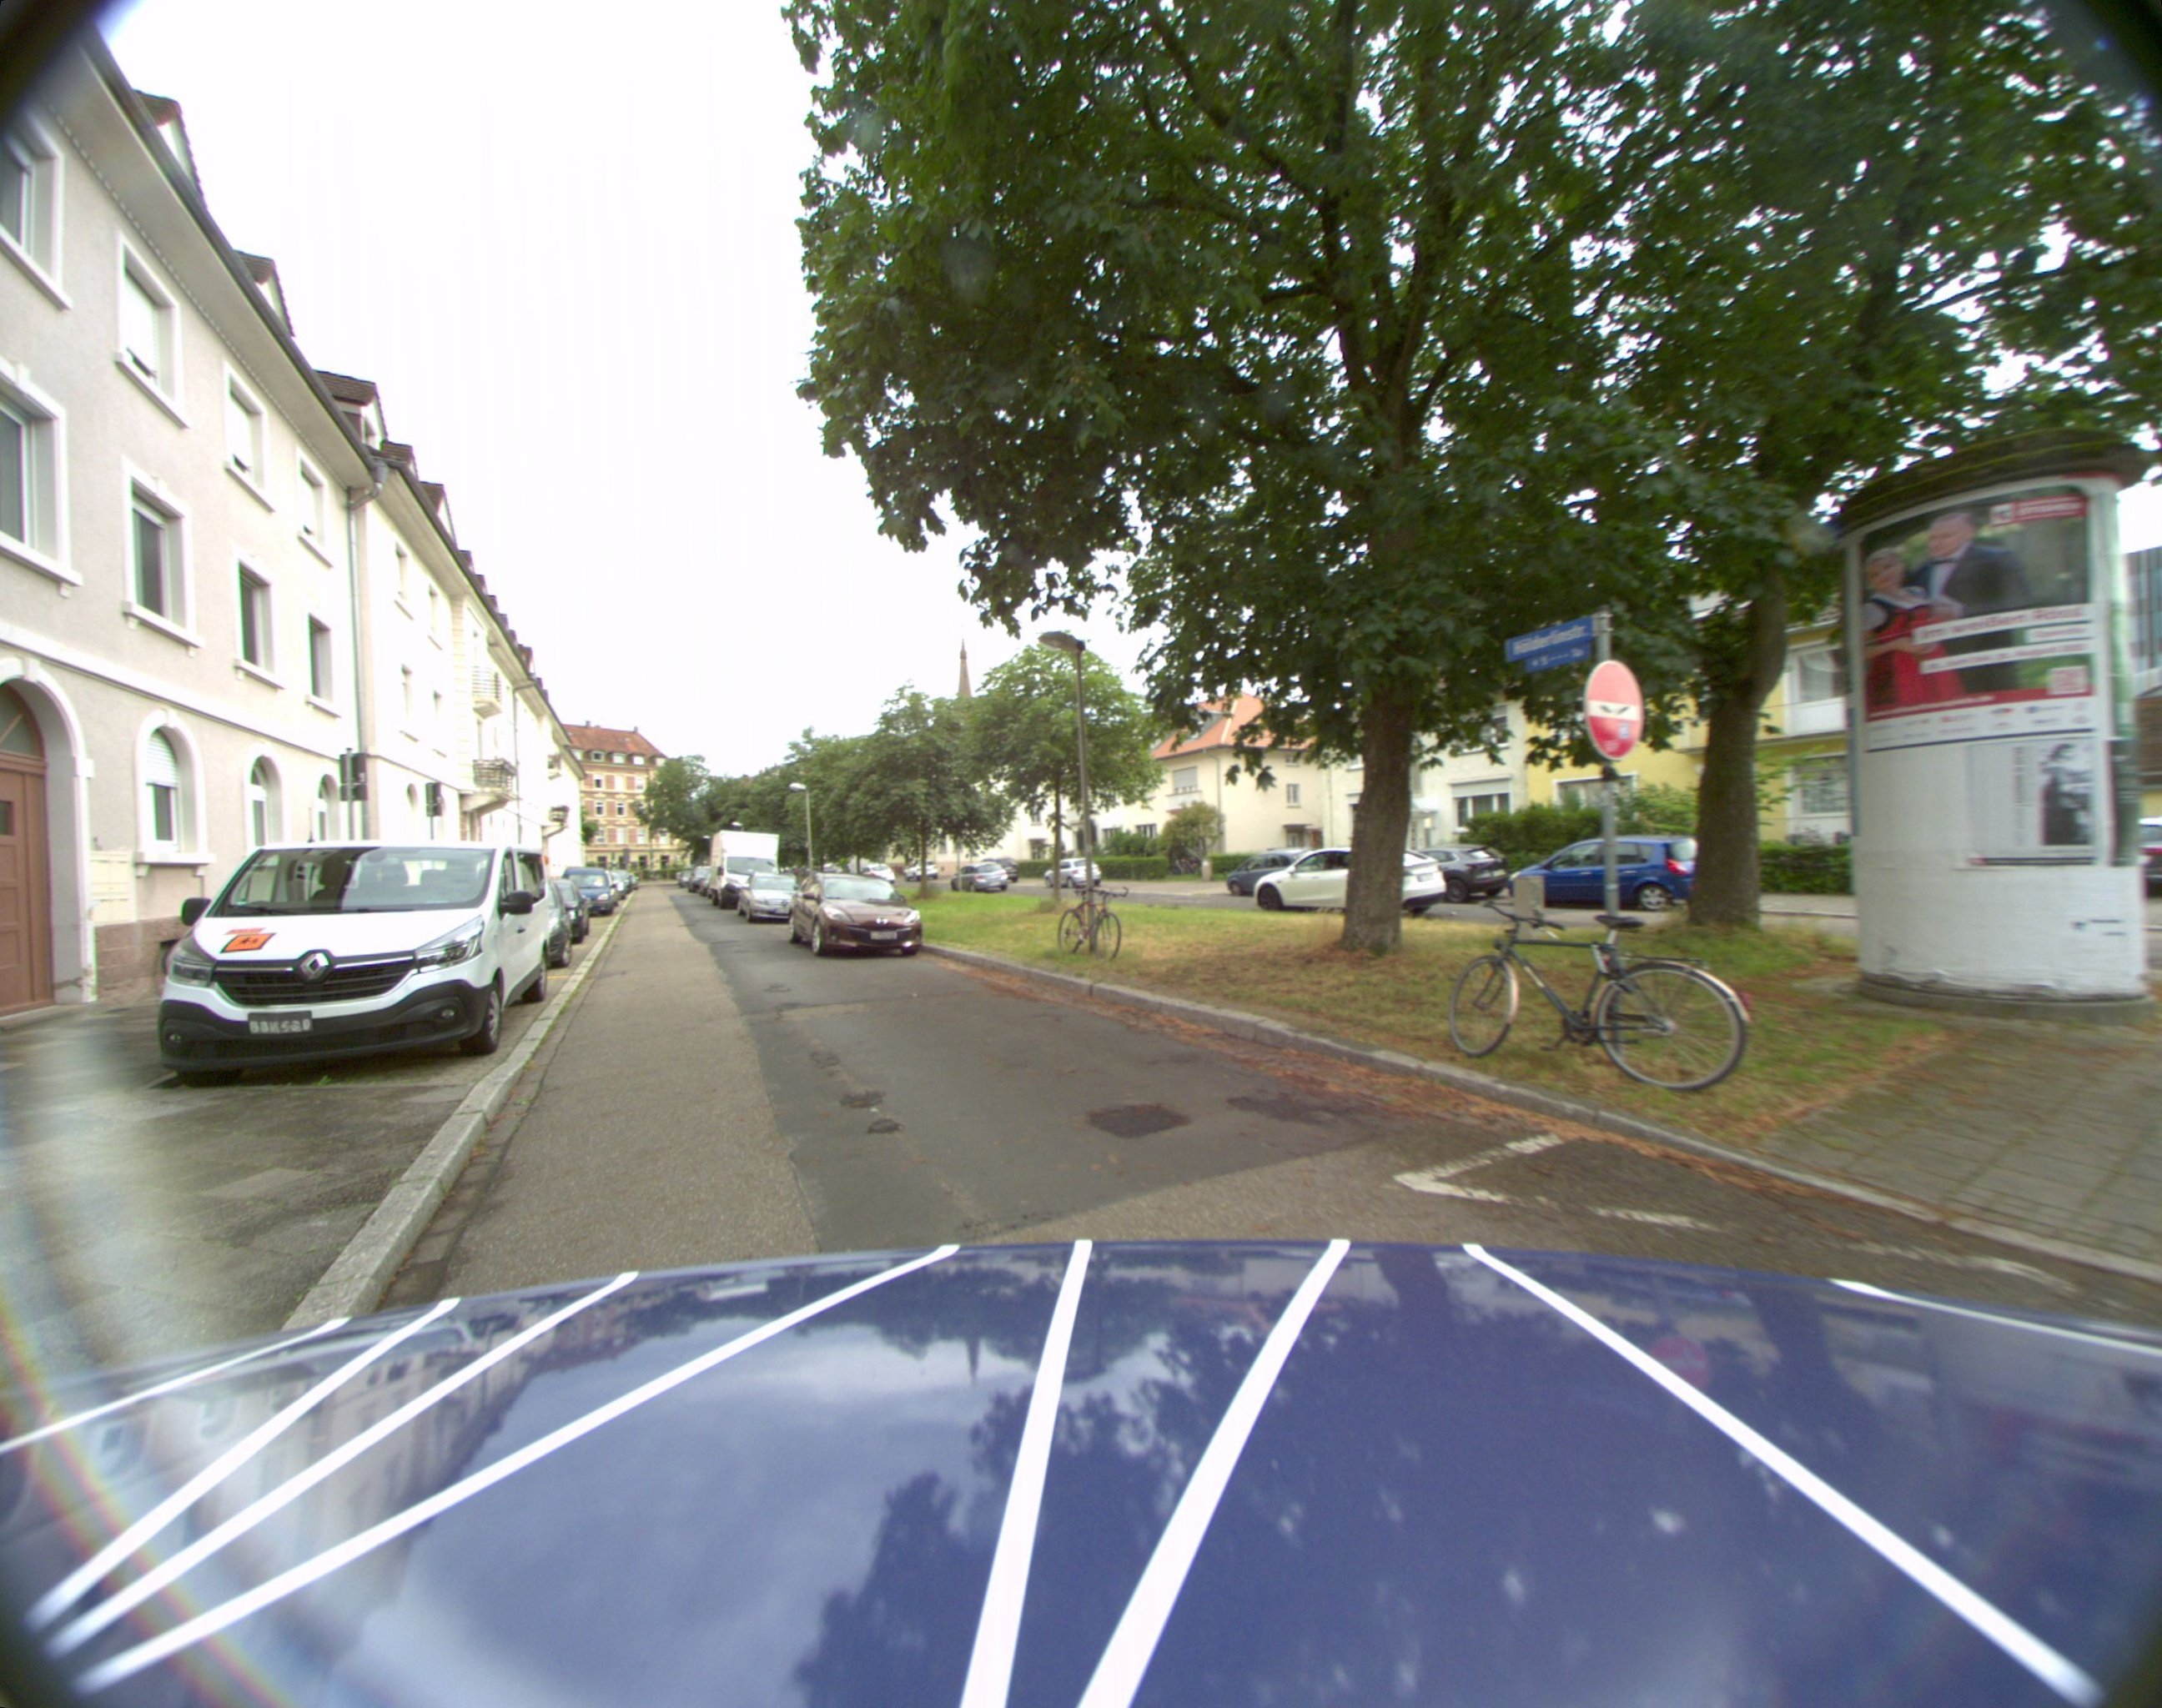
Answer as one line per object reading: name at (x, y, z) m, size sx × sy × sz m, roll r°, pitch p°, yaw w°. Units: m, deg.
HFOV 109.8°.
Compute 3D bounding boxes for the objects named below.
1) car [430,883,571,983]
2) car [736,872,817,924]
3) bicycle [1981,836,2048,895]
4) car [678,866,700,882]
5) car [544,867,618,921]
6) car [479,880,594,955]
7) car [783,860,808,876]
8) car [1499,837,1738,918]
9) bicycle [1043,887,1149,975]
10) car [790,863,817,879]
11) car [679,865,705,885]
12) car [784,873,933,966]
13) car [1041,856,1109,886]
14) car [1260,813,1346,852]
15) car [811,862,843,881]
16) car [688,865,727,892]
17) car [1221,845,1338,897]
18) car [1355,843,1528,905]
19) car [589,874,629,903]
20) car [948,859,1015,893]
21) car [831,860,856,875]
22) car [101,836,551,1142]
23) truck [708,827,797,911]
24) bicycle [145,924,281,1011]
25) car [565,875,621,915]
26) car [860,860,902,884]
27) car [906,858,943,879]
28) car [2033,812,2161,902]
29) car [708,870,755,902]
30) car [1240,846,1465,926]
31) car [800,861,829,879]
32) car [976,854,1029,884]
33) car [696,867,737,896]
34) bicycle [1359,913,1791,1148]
car at (-10.221, 1.285, 13.636) m, size 1.696 × 1.445 × 3.892 m, roll 0°, pitch -1°, yaw -33°
car at (-9.555, 1.323, 23.624) m, size 1.719 × 1.449 × 4.438 m, roll 3°, pitch -2°, yaw -29°
bicycle at (20.151, 0.231, 16.393) m, size 2.179 × 1.187 × 0.482 m, roll -2°, pitch 0°, yaw -28°
car at (-40.124, 2.002, 77.796) m, size 1.647 × 1.570 × 4.199 m, roll 2°, pitch -2°, yaw -31°
car at (-18.158, 1.381, 27.760) m, size 1.947 × 1.774 × 4.176 m, roll 0°, pitch -1°, yaw -29°
car at (-12.519, 1.367, 17.737) m, size 1.696 × 1.445 × 4.534 m, roll 0°, pitch -1°, yaw -29°
car at (-32.395, 1.566, 86.207) m, size 1.973 × 1.630 × 3.997 m, roll -4°, pitch 1°, yaw -29°
car at (12.225, 0.489, 17.621) m, size 1.707 × 1.557 × 4.201 m, roll -4°, pitch 1°, yaw -26°
bicycle at (0.171, 1.045, 10.850) m, size 0.669 × 1.060 × 1.881 m, roll -2°, pitch 0°, yaw -27°
car at (-29.912, 1.801, 81.897) m, size 1.973 × 1.630 × 3.997 m, roll -4°, pitch 1°, yaw -29°
car at (-33.646, 1.812, 65.633) m, size 1.647 × 1.570 × 4.199 m, roll -2°, pitch 0°, yaw -32°
car at (-4.277, 1.117, 14.172) m, size 1.719 × 1.449 × 4.153 m, roll 3°, pitch -2°, yaw -29°
car at (-0.382, 0.872, 39.837) m, size 1.808 × 1.347 × 3.932 m, roll -4°, pitch 1°, yaw -29°
car at (11.747, -1.149, 40.148) m, size 4.005 × 1.718 × 1.996 m, roll -5°, pitch 2°, yaw -29°
car at (-23.598, 1.602, 70.531) m, size 1.973 × 1.630 × 3.997 m, roll -4°, pitch 1°, yaw -29°
car at (-24.113, 1.577, 48.985) m, size 1.789 × 1.697 × 4.305 m, roll 2°, pitch -2°, yaw -31°
car at (7.000, 0.593, 27.176) m, size 1.722 × 1.593 × 3.876 m, roll -5°, pitch 1°, yaw -31°
car at (10.170, 0.549, 21.735) m, size 1.722 × 1.491 × 4.158 m, roll -5°, pitch 1°, yaw -30°
car at (-25.847, 1.846, 41.693) m, size 1.690 × 1.505 × 3.945 m, roll 2°, pitch -2°, yaw -29°
car at (-4.936, 1.060, 37.309) m, size 1.808 × 1.479 × 3.997 m, roll -4°, pitch 1°, yaw -29°
car at (-28.913, 1.620, 92.392) m, size 1.973 × 1.630 × 3.997 m, roll -4°, pitch 1°, yaw -29°
car at (-6.738, 0.915, 7.569) m, size 1.887 × 1.984 × 5.001 m, roll -1°, pitch -1°, yaw -29°
truck at (-13.403, 0.655, 30.676) m, size 2.450 × 2.938 × 7.096 m, roll 3°, pitch -3°, yaw -29°
bicycle at (-11.619, 1.468, 10.258) m, size 0.450 × 0.887 × 2.167 m, roll -1°, pitch 0°, yaw -28°
car at (-21.298, 1.747, 33.271) m, size 1.779 × 1.627 × 4.119 m, roll 2°, pitch -2°, yaw -29°
car at (-14.109, 1.260, 53.537) m, size 1.808 × 1.479 × 3.997 m, roll -4°, pitch 1°, yaw -29°
car at (-12.872, 1.172, 62.392) m, size 1.808 × 1.598 × 3.997 m, roll -4°, pitch 1°, yaw -29°
car at (20.689, 0.000, 14.905) m, size 4.006 × 1.601 × 1.839 m, roll -2°, pitch 1°, yaw -29°
car at (-17.560, 1.556, 38.058) m, size 1.647 × 1.505 × 4.142 m, roll 2°, pitch -2°, yaw -31°
car at (6.133, 0.674, 17.833) m, size 1.906 × 1.557 × 4.873 m, roll -2°, pitch 0°, yaw -30°
car at (-26.868, 1.576, 76.521) m, size 1.973 × 1.630 × 3.997 m, roll -4°, pitch 1°, yaw -29°
car at (-5.094, 0.946, 48.887) m, size 1.807 × 1.664 × 4.091 m, roll -7°, pitch 3°, yaw -29°
car at (-20.547, 1.497, 42.762) m, size 1.647 × 1.505 × 4.142 m, roll -2°, pitch 0°, yaw -32°
bicycle at (2.830, 0.926, 4.689) m, size 0.513 × 0.980 × 2.177 m, roll -5°, pitch 2°, yaw -32°
